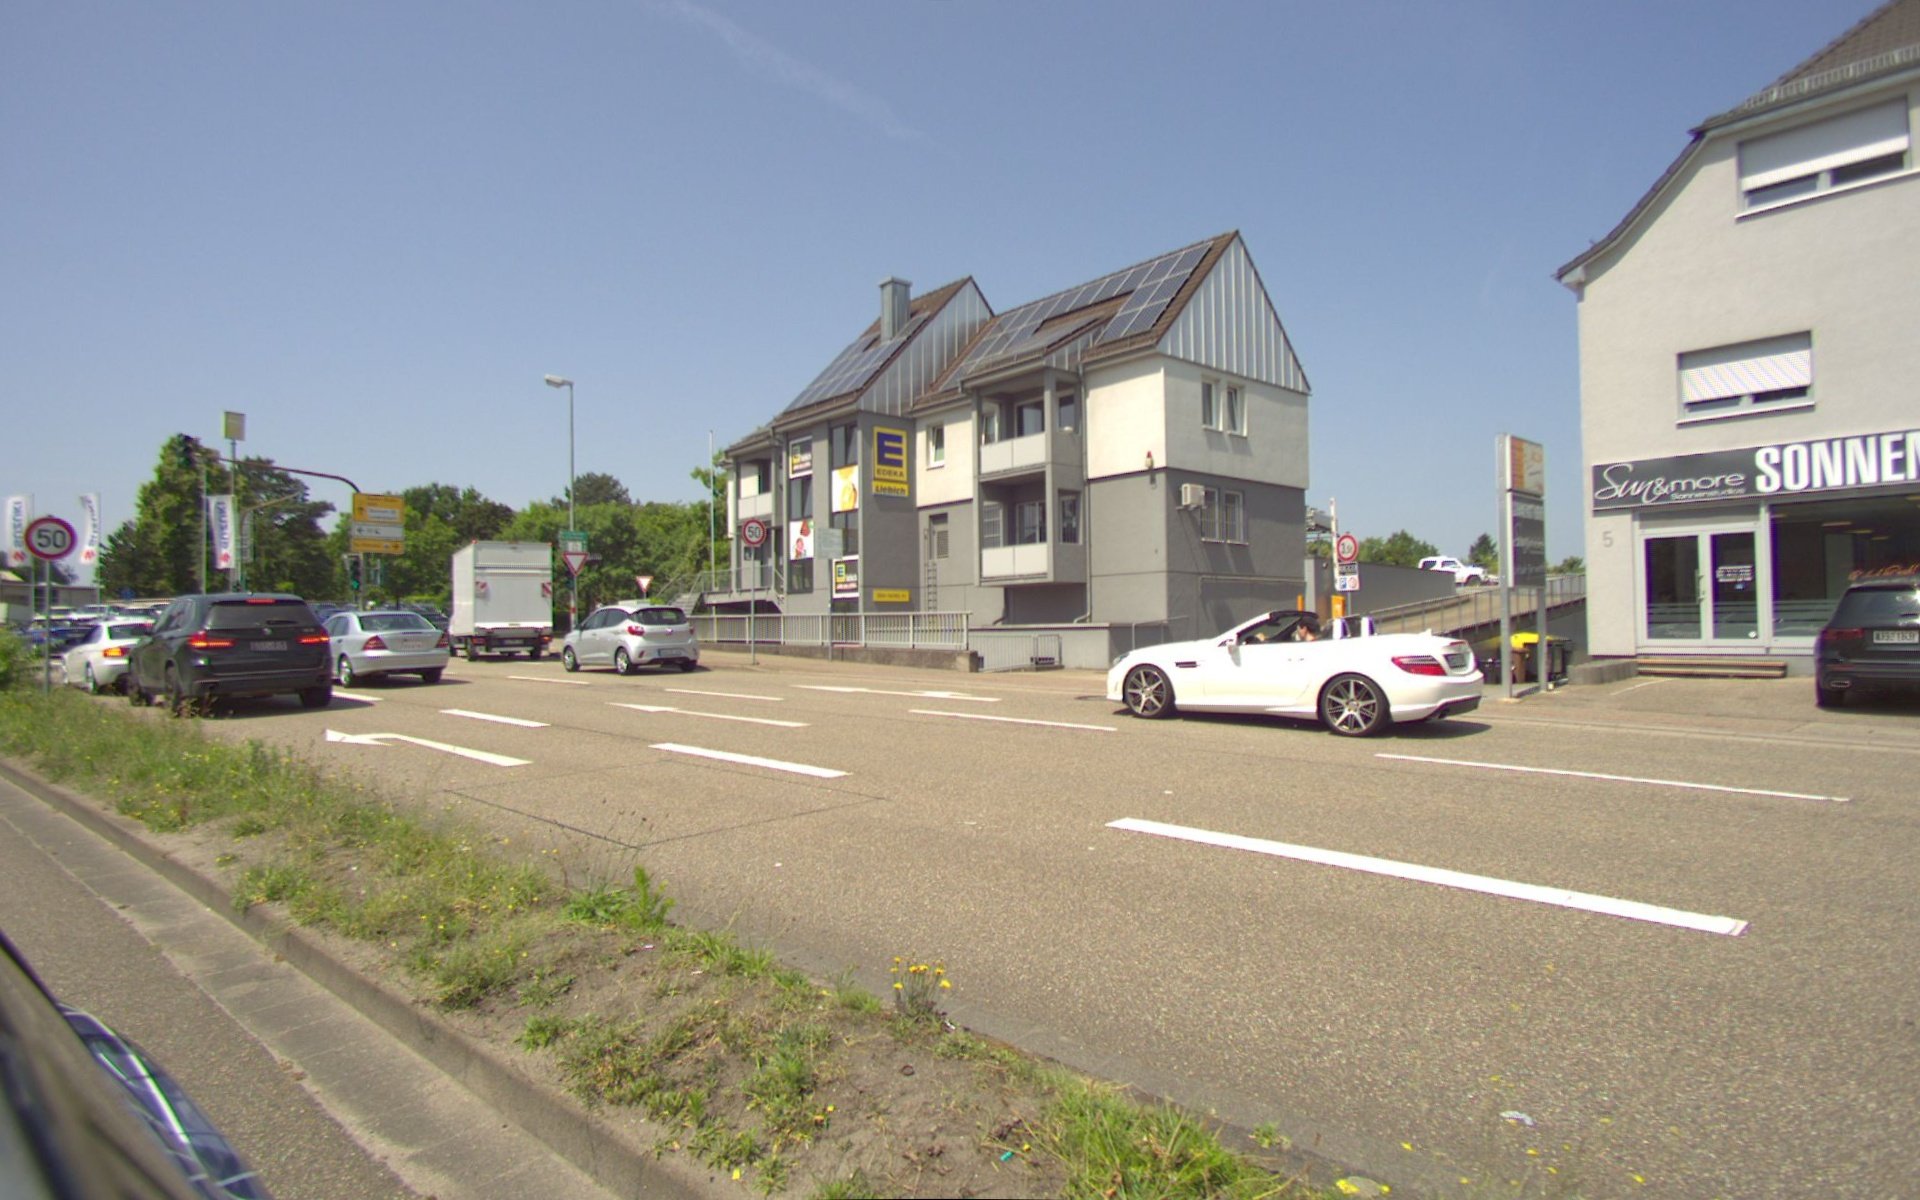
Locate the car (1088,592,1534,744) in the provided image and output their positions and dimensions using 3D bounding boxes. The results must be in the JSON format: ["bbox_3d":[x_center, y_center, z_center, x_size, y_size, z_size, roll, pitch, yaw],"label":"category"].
[{"bbox_3d":[3.718,0.648,11.287,4.357,1.364,1.784,-1,-1,44],"label":"car"}]

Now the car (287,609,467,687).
[{"bbox_3d":[-11.634,0.882,20.079,4.196,1.371,1.877,-1,0,42],"label":"car"}]

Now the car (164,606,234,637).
[{"bbox_3d":[-44.664,1.224,59.395,3.997,1.737,1.828,1,0,29],"label":"car"}]

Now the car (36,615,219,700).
[{"bbox_3d":[-16.357,1.050,19.799,4.739,1.442,1.845,-1,0,39],"label":"car"}]

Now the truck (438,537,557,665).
[{"bbox_3d":[-14.117,0.097,30.611,2.234,3.443,7.058,-1,-1,-33],"label":"truck"}]

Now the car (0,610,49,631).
[{"bbox_3d":[-69.976,1.526,75.141,3.593,1.517,1.688,-1,-1,12],"label":"car"}]

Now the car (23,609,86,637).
[{"bbox_3d":[-53.554,1.317,59.938,1.727,1.521,3.833,-1,1,-25],"label":"car"}]

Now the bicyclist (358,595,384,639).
[{"bbox_3d":[-22.730,0.657,39.051,0.816,1.655,0.419,-2,0,26],"label":"bicyclist"}]

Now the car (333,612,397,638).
[{"bbox_3d":[-37.015,1.534,62.958,3.985,1.548,1.777,0,0,31],"label":"car"}]

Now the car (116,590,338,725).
[{"bbox_3d":[-11.411,0.748,15.606,4.760,1.764,1.888,0,1,43],"label":"car"}]

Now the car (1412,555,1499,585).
[{"bbox_3d":[26.693,-1.593,54.575,3.992,1.536,1.747,0,1,36],"label":"car"}]

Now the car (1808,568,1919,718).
[{"bbox_3d":[12.670,0.444,13.223,4.551,1.639,1.856,-3,1,-43],"label":"car"}]

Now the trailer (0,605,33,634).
[{"bbox_3d":[-57.446,1.176,60.720,1.665,1.717,2.441,-1,0,-13],"label":"trailer"}]

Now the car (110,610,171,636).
[{"bbox_3d":[-48.017,1.322,59.374,1.686,1.443,3.976,1,0,-22],"label":"car"}]

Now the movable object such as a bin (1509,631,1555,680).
[{"bbox_3d":[17.133,1.644,30.305,1.021,1.396,1.164,0,0,40],"label":"movable object such as a bin"}]

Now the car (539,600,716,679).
[{"bbox_3d":[-7.426,0.803,22.398,4.196,1.578,1.877,-1,0,42],"label":"car"}]

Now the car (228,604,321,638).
[{"bbox_3d":[-40.398,1.266,59.738,4.234,1.916,1.836,1,0,-24],"label":"car"}]

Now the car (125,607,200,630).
[{"bbox_3d":[-59.131,1.338,75.036,4.704,1.662,1.689,-1,-1,10],"label":"car"}]

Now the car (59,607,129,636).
[{"bbox_3d":[-50.905,1.248,59.583,1.885,1.552,3.975,-1,0,-21],"label":"car"}]

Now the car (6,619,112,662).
[{"bbox_3d":[-31.043,1.370,34.832,4.338,1.376,1.846,-1,-2,36],"label":"car"}]
